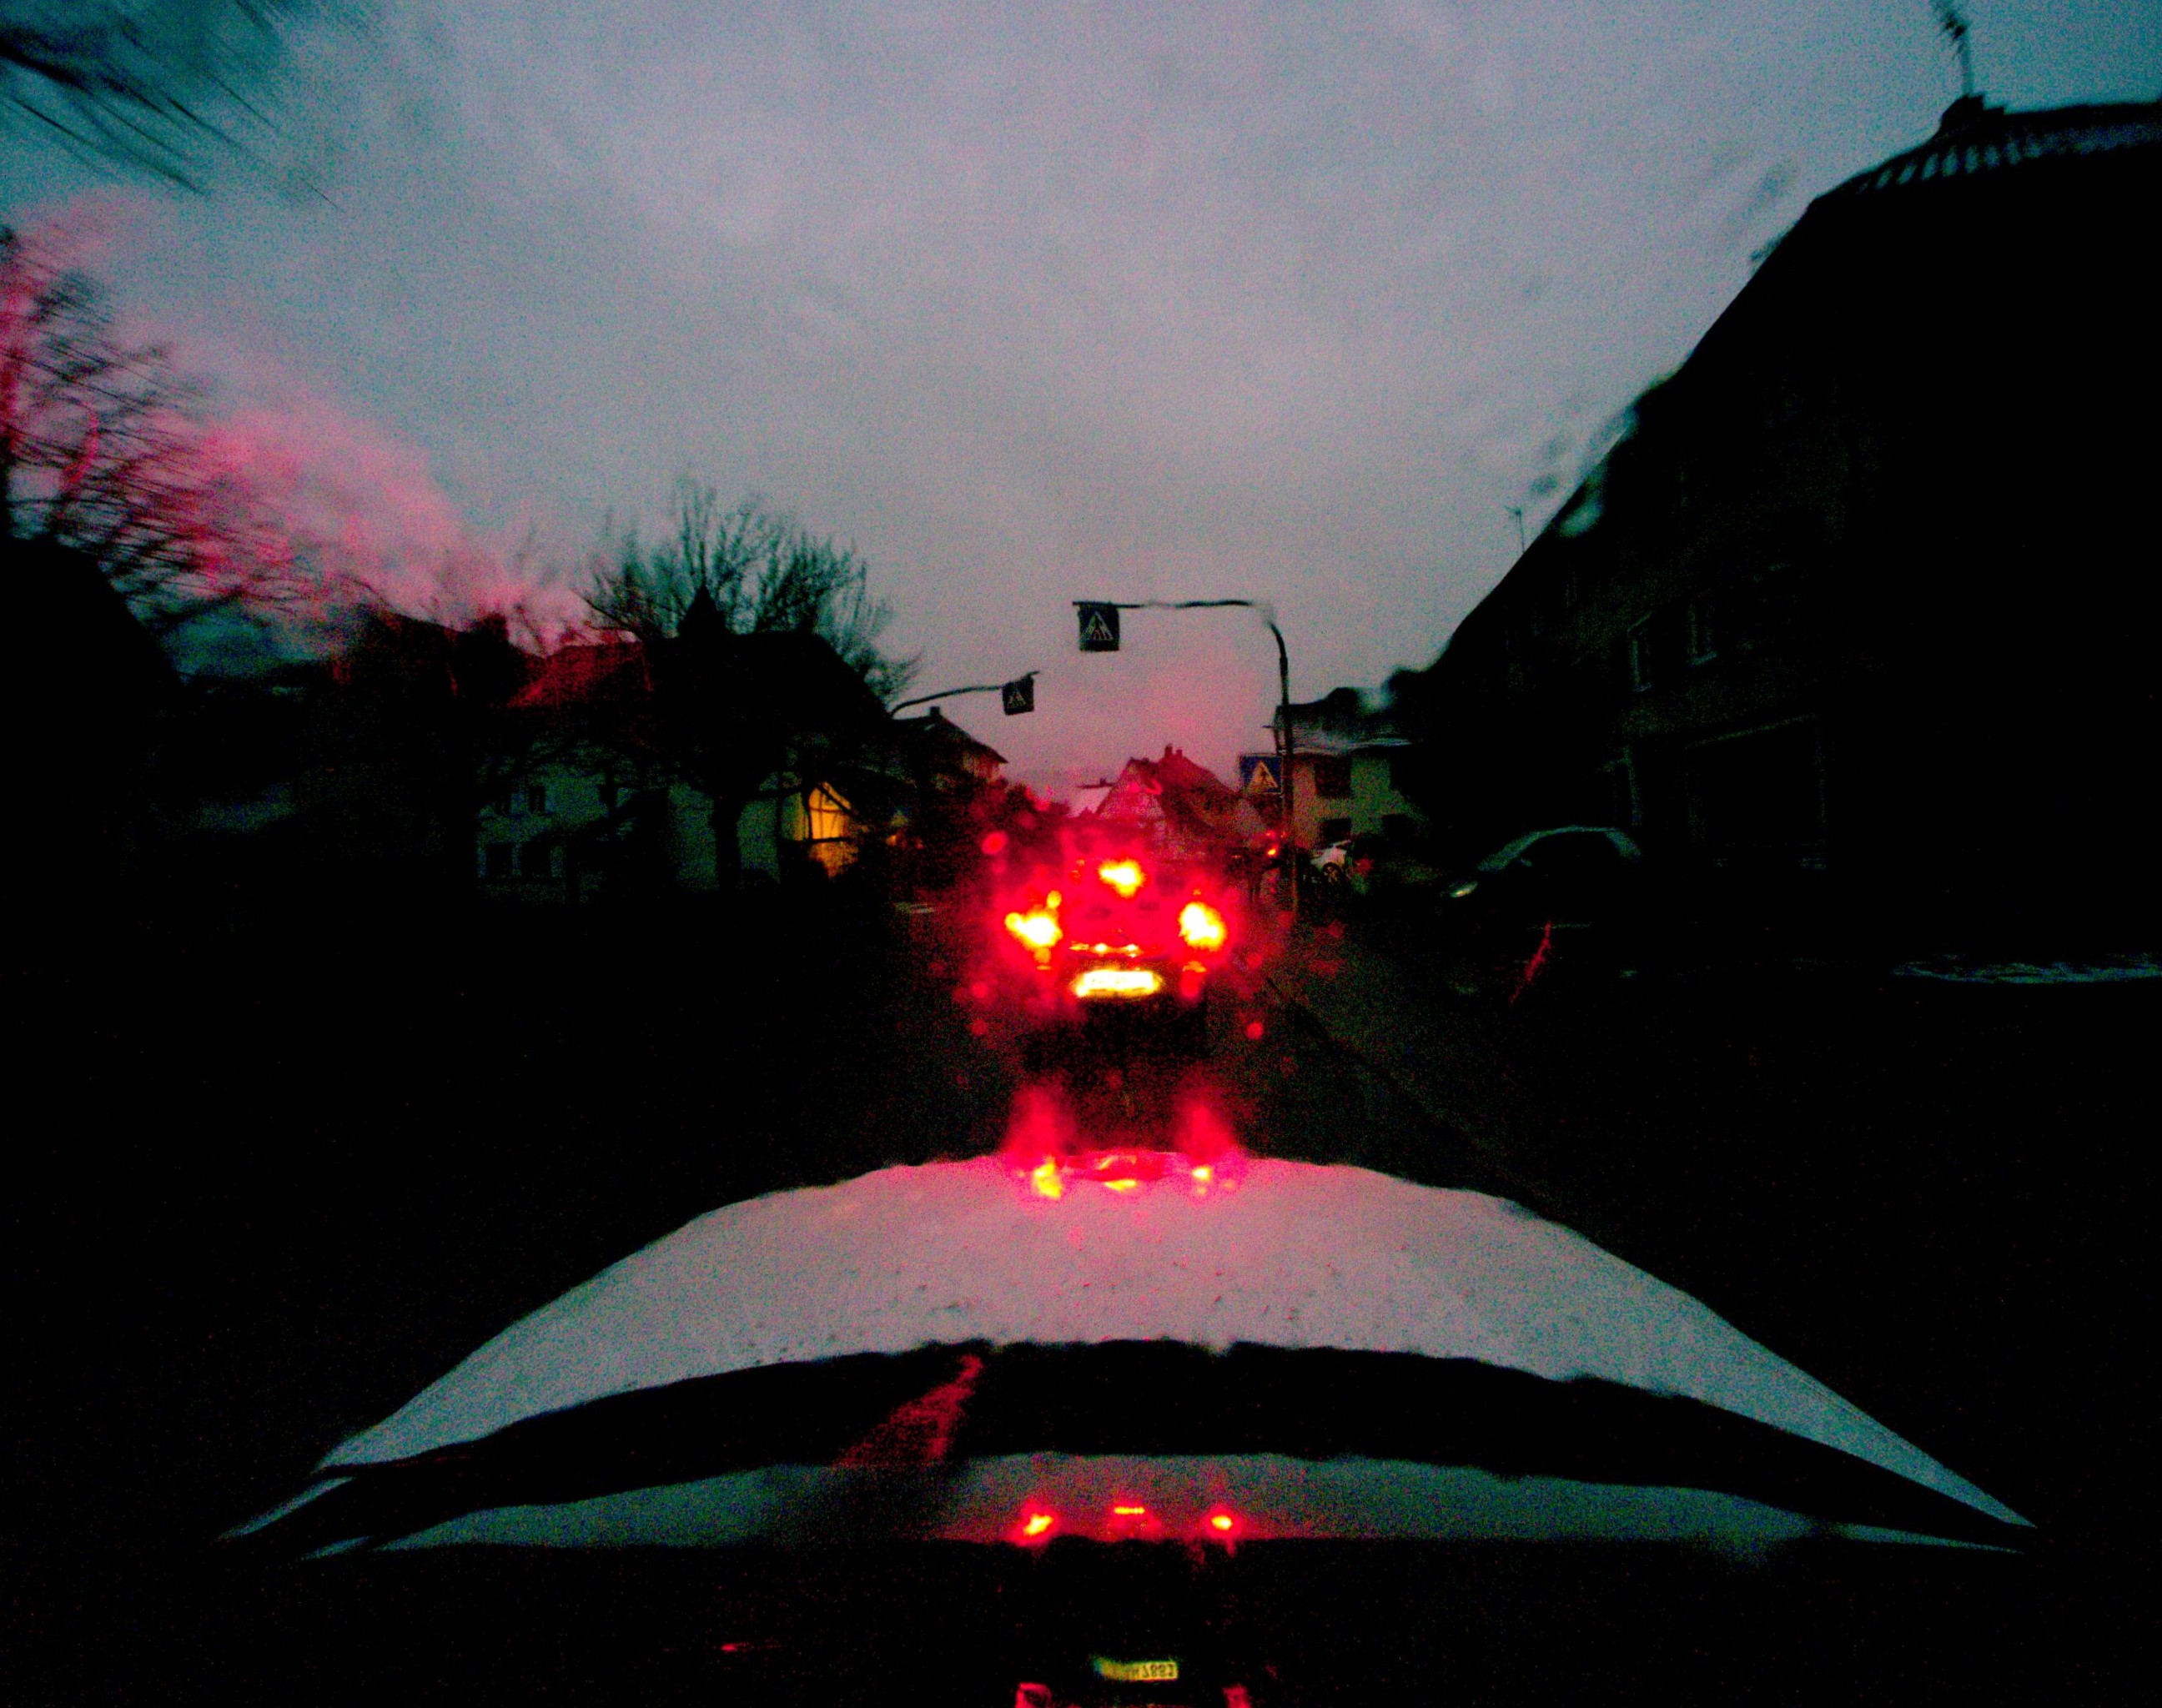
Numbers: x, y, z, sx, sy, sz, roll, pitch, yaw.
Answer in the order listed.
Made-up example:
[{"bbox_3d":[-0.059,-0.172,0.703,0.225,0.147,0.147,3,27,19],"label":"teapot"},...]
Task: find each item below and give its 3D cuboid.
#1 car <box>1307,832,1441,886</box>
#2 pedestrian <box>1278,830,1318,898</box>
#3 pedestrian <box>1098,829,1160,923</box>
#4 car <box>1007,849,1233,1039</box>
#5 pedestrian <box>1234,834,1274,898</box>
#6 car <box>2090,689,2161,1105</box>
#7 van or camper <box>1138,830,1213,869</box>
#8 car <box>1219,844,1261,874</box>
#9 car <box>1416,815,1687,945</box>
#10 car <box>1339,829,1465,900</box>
[{"bbox_3d":[9.510,0.176,26.722,3.873,1.474,1.757,-4,0,12],"label":"car"},{"bbox_3d":[5.916,0.265,22.146,0.841,1.733,0.976,-5,-1,18],"label":"pedestrian"},{"bbox_3d":[0.964,0.422,16.195,0.872,1.735,0.960,-5,-1,18],"label":"pedestrian"},{"bbox_3d":[0.236,0.705,8.508,1.791,1.476,3.996,-1,0,-3],"label":"car"},{"bbox_3d":[4.778,0.320,22.446,0.860,1.667,0.996,-5,-1,17],"label":"pedestrian"},{"bbox_3d":[7.213,0.045,2.605,4.952,1.889,1.942,-4,0,8],"label":"car"},{"bbox_3d":[8.533,-0.358,73.695,6.005,2.955,2.420,-5,-2,25],"label":"van or camper"},{"bbox_3d":[9.063,0.265,46.111,1.833,1.637,4.356,-1,0,17],"label":"car"},{"bbox_3d":[6.129,0.339,10.872,2.746,1.474,1.431,-4,0,10],"label":"car"},{"bbox_3d":[7.856,0.249,20.105,2.567,1.547,1.555,-4,0,9],"label":"car"}]
